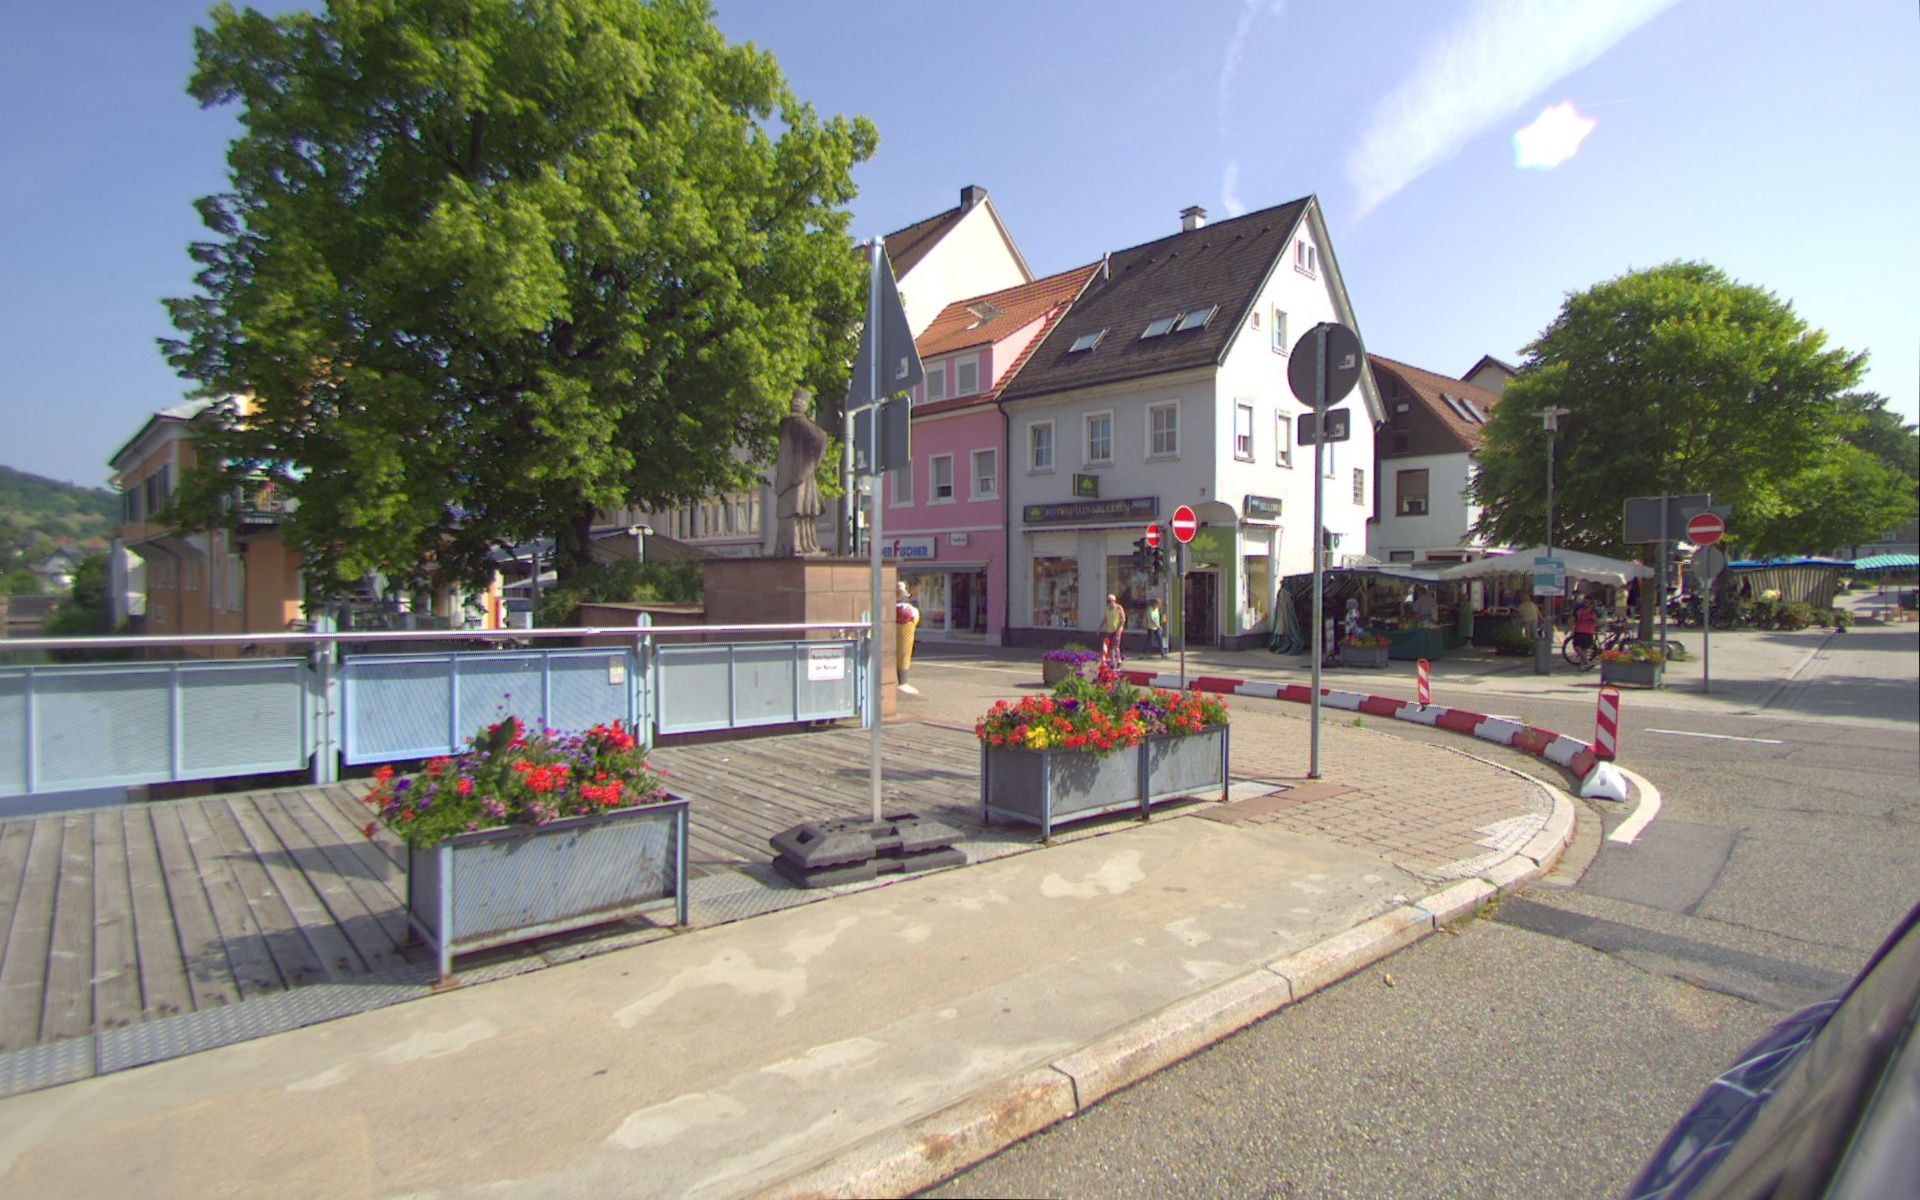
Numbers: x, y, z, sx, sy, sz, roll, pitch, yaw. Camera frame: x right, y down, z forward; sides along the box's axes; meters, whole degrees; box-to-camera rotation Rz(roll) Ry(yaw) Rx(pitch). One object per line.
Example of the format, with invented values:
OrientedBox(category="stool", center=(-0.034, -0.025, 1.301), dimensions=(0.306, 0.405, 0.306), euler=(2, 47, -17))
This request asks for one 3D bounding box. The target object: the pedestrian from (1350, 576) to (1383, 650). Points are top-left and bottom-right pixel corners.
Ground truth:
OrientedBox(category="pedestrian", center=(11.129, 0.356, 27.742), dimensions=(0.695, 1.995, 0.507), euler=(1, 1, 6))

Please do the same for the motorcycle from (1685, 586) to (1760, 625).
OrientedBox(category="motorcycle", center=(26.988, 0.176, 35.861), dimensions=(0.630, 1.210, 2.009), euler=(-1, 4, -29))

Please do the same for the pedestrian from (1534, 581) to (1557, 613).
OrientedBox(category="pedestrian", center=(22.830, -0.124, 39.462), dimensions=(0.639, 1.215, 0.571), euler=(-1, 4, -41))

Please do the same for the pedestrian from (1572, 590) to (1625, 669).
OrientedBox(category="pedestrian", center=(14.349, 0.648, 22.745), dimensions=(0.880, 1.678, 0.564), euler=(4, 4, 40))

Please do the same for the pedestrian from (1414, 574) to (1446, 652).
OrientedBox(category="pedestrian", center=(12.323, 0.326, 26.536), dimensions=(0.700, 2.010, 0.646), euler=(1, 1, 27))

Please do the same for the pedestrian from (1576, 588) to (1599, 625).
OrientedBox(category="pedestrian", center=(22.056, 0.224, 35.566), dimensions=(0.569, 1.215, 0.642), euler=(4, 4, 37))

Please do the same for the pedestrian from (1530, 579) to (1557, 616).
OrientedBox(category="pedestrian", center=(22.275, -0.096, 38.648), dimensions=(0.687, 1.347, 0.626), euler=(-1, 4, -39))

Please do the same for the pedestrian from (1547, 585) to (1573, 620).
OrientedBox(category="pedestrian", center=(21.782, 0.089, 36.736), dimensions=(0.639, 1.215, 0.571), euler=(-1, 4, -41))

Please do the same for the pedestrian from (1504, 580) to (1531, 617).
OrientedBox(category="pedestrian", center=(20.667, -0.068, 37.527), dimensions=(0.687, 1.347, 0.626), euler=(-1, 4, -39))

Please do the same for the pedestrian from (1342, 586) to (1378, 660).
OrientedBox(category="pedestrian", center=(9.749, 0.545, 24.662), dimensions=(0.779, 1.745, 0.702), euler=(1, 1, 21))

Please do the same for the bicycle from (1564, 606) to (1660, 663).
OrientedBox(category="bicycle", center=(15.245, 0.783, 23.685), dimensions=(1.850, 1.250, 0.610), euler=(1, 1, 35))

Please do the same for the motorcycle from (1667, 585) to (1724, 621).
OrientedBox(category="motorcycle", center=(27.100, 0.114, 37.310), dimensions=(0.632, 1.210, 1.530), euler=(-1, 4, -42))

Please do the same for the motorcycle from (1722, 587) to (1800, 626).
OrientedBox(category="motorcycle", center=(28.069, 0.204, 35.494), dimensions=(0.630, 1.210, 2.009), euler=(0, 4, -29))

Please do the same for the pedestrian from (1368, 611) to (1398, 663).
OrientedBox(category="pedestrian", center=(9.949, 0.859, 23.815), dimensions=(0.614, 1.175, 0.513), euler=(1, 1, 20))

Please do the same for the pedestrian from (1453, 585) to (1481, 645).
OrientedBox(category="pedestrian", center=(14.305, 0.413, 28.566), dimensions=(0.520, 1.647, 0.696), euler=(1, 1, 43))

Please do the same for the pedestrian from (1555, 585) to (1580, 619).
OrientedBox(category="pedestrian", center=(22.332, 0.076, 37.204), dimensions=(0.639, 1.215, 0.571), euler=(-1, 4, -41))

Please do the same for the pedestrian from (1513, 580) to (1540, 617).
OrientedBox(category="pedestrian", center=(21.350, -0.076, 38.127), dimensions=(0.687, 1.347, 0.626), euler=(-1, 4, -39))

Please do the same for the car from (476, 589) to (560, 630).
OrientedBox(category="car", center=(-18.850, 0.343, 43.067), dimensions=(1.723, 1.617, 4.581), euler=(-1, 1, -44))

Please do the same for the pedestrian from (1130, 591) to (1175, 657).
OrientedBox(category="pedestrian", center=(5.100, 0.617, 26.873), dimensions=(0.775, 1.652, 0.857), euler=(-4, 3, -41))

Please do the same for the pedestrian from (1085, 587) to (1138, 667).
OrientedBox(category="pedestrian", center=(3.637, 0.631, 24.253), dimensions=(0.901, 1.837, 1.009), euler=(0, 2, 34))

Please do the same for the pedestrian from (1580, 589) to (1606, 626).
OrientedBox(category="pedestrian", center=(21.649, 0.243, 34.613), dimensions=(0.695, 1.215, 0.565), euler=(3, 4, 34))

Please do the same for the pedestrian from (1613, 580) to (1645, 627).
OrientedBox(category="pedestrian", center=(22.865, 0.113, 34.586), dimensions=(0.561, 1.572, 0.699), euler=(-1, 4, -36))

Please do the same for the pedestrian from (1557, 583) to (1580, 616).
OrientedBox(category="pedestrian", center=(23.456, -0.015, 39.013), dimensions=(0.639, 1.215, 0.571), euler=(-1, 4, -41))

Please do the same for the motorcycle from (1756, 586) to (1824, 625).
OrientedBox(category="motorcycle", center=(29.179, 0.182, 35.628), dimensions=(0.631, 1.210, 2.007), euler=(2, 3, -1))

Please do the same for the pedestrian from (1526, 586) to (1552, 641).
OrientedBox(category="pedestrian", center=(16.552, 0.387, 28.930), dimensions=(0.617, 1.537, 0.626), euler=(1, 1, 30))
